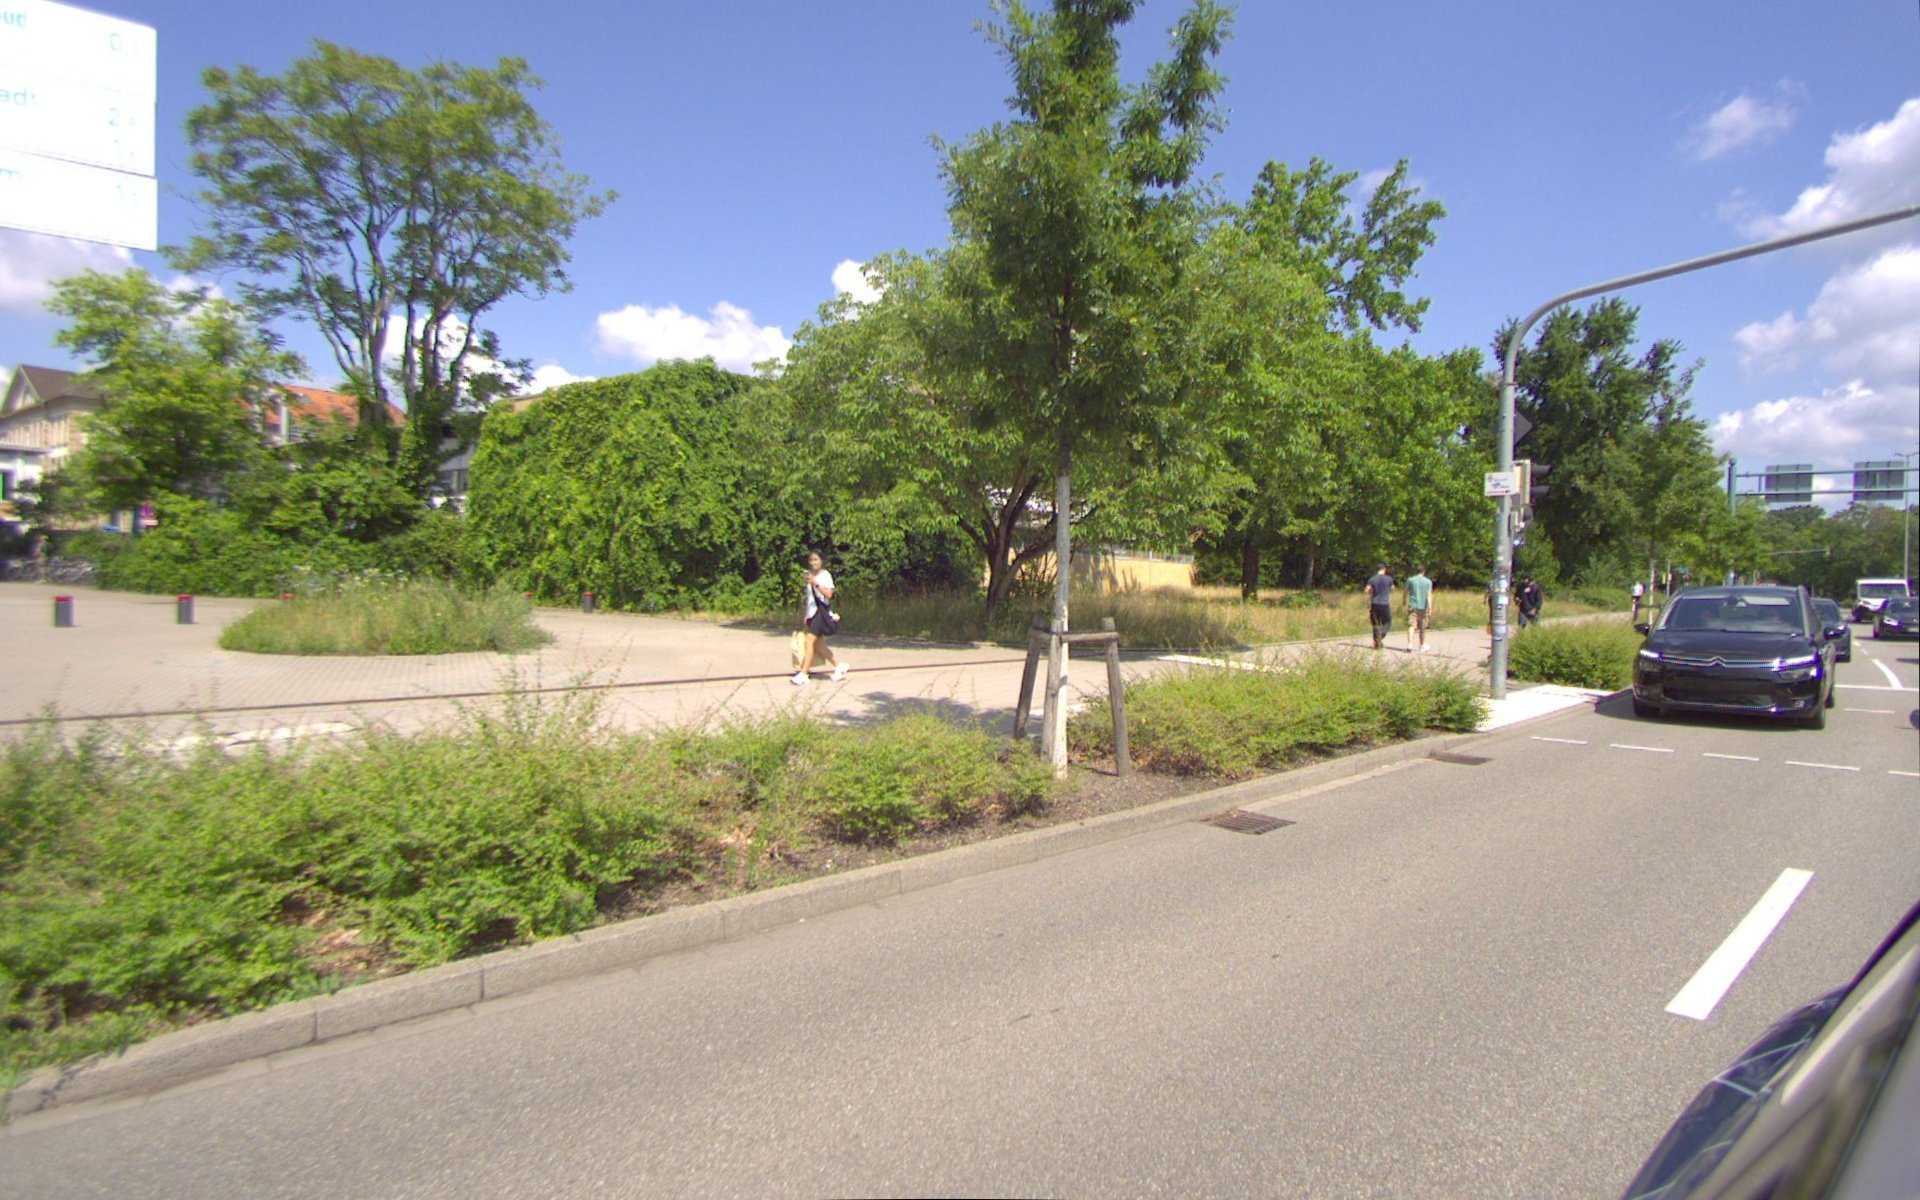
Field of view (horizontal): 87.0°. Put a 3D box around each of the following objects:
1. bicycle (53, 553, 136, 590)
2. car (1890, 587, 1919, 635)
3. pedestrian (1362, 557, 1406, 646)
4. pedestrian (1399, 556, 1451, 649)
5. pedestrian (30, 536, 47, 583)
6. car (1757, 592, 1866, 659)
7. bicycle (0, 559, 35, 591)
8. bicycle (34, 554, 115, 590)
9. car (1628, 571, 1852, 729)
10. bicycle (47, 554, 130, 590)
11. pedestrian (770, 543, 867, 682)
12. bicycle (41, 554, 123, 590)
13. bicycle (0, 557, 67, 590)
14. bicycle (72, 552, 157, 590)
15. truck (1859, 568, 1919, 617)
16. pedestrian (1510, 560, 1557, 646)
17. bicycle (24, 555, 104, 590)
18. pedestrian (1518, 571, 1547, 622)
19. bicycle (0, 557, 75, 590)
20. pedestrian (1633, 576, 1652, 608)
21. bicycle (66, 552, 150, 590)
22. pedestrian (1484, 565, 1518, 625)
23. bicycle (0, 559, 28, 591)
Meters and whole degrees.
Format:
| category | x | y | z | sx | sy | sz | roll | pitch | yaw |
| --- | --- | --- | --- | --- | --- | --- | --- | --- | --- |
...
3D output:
| category | x | y | z | sx | sy | sz | roll | pitch | yaw |
| --- | --- | --- | --- | --- | --- | --- | --- | --- | --- |
| bicycle | -33.127 | -1.081 | 38.771 | 0.633 | 1.364 | 2.342 | 0 | 1 | 32 |
| car | 32.283 | 0.350 | 33.582 | 1.743 | 1.523 | 4.457 | -1 | 0 | 38 |
| pedestrian | 8.693 | 0.026 | 20.738 | 0.664 | 1.768 | 0.602 | 3 | 2 | 34 |
| pedestrian | 9.426 | 0.041 | 20.515 | 0.747 | 1.799 | 0.871 | 3 | 2 | 34 |
| pedestrian | -36.899 | -1.625 | 40.507 | 0.361 | 1.873 | 0.412 | 0 | 0 | 33 |
| car | 20.072 | 0.544 | 24.001 | 1.757 | 1.435 | 4.303 | -1 | 0 | 38 |
| bicycle | -41.597 | -1.090 | 43.721 | 0.633 | 1.364 | 2.342 | 0 | 1 | 32 |
| bicycle | -34.875 | -1.085 | 39.896 | 0.633 | 1.364 | 2.342 | 0 | 1 | 32 |
| car | 10.016 | 0.523 | 12.847 | 1.857 | 1.643 | 4.450 | -1 | -1 | 43 |
| bicycle | -33.684 | -1.083 | 39.156 | 0.633 | 1.364 | 2.342 | 0 | 1 | 32 |
| pedestrian | -1.722 | 0.131 | 12.374 | 0.747 | 1.616 | 0.871 | 3 | 2 | 32 |
| bicycle | -34.290 | -1.084 | 39.554 | 0.633 | 1.364 | 2.342 | 0 | 1 | 32 |
| bicycle | -38.928 | -1.089 | 42.305 | 0.633 | 1.364 | 2.342 | 0 | 1 | 32 |
| bicycle | -31.388 | -1.077 | 37.602 | 0.633 | 1.364 | 2.342 | 0 | 1 | 32 |
| truck | 46.794 | -0.362 | 50.577 | 2.451 | 2.330 | 5.734 | -1 | -1 | 39 |
| pedestrian | 12.235 | 0.063 | 21.600 | 0.665 | 1.771 | 0.836 | 3 | 2 | 39 |
| bicycle | -35.920 | -1.087 | 40.600 | 0.633 | 1.364 | 2.342 | 0 | 1 | 32 |
| pedestrian | 20.218 | -0.135 | 35.726 | 0.665 | 1.771 | 0.865 | 3 | 2 | 39 |
| bicycle | -38.180 | -1.088 | 41.816 | 0.633 | 1.364 | 2.342 | 0 | 1 | 32 |
| pedestrian | 39.496 | -0.466 | 58.594 | 0.841 | 1.787 | 0.830 | 0 | 1 | 40 |
| bicycle | -31.938 | -1.078 | 37.970 | 0.633 | 1.364 | 2.342 | 0 | 1 | 32 |
| pedestrian | 16.447 | -0.169 | 30.765 | 0.748 | 1.771 | 0.658 | 3 | 2 | 40 |
| bicycle | -42.358 | -1.091 | 44.212 | 0.633 | 1.364 | 2.342 | 0 | 1 | 32 |
